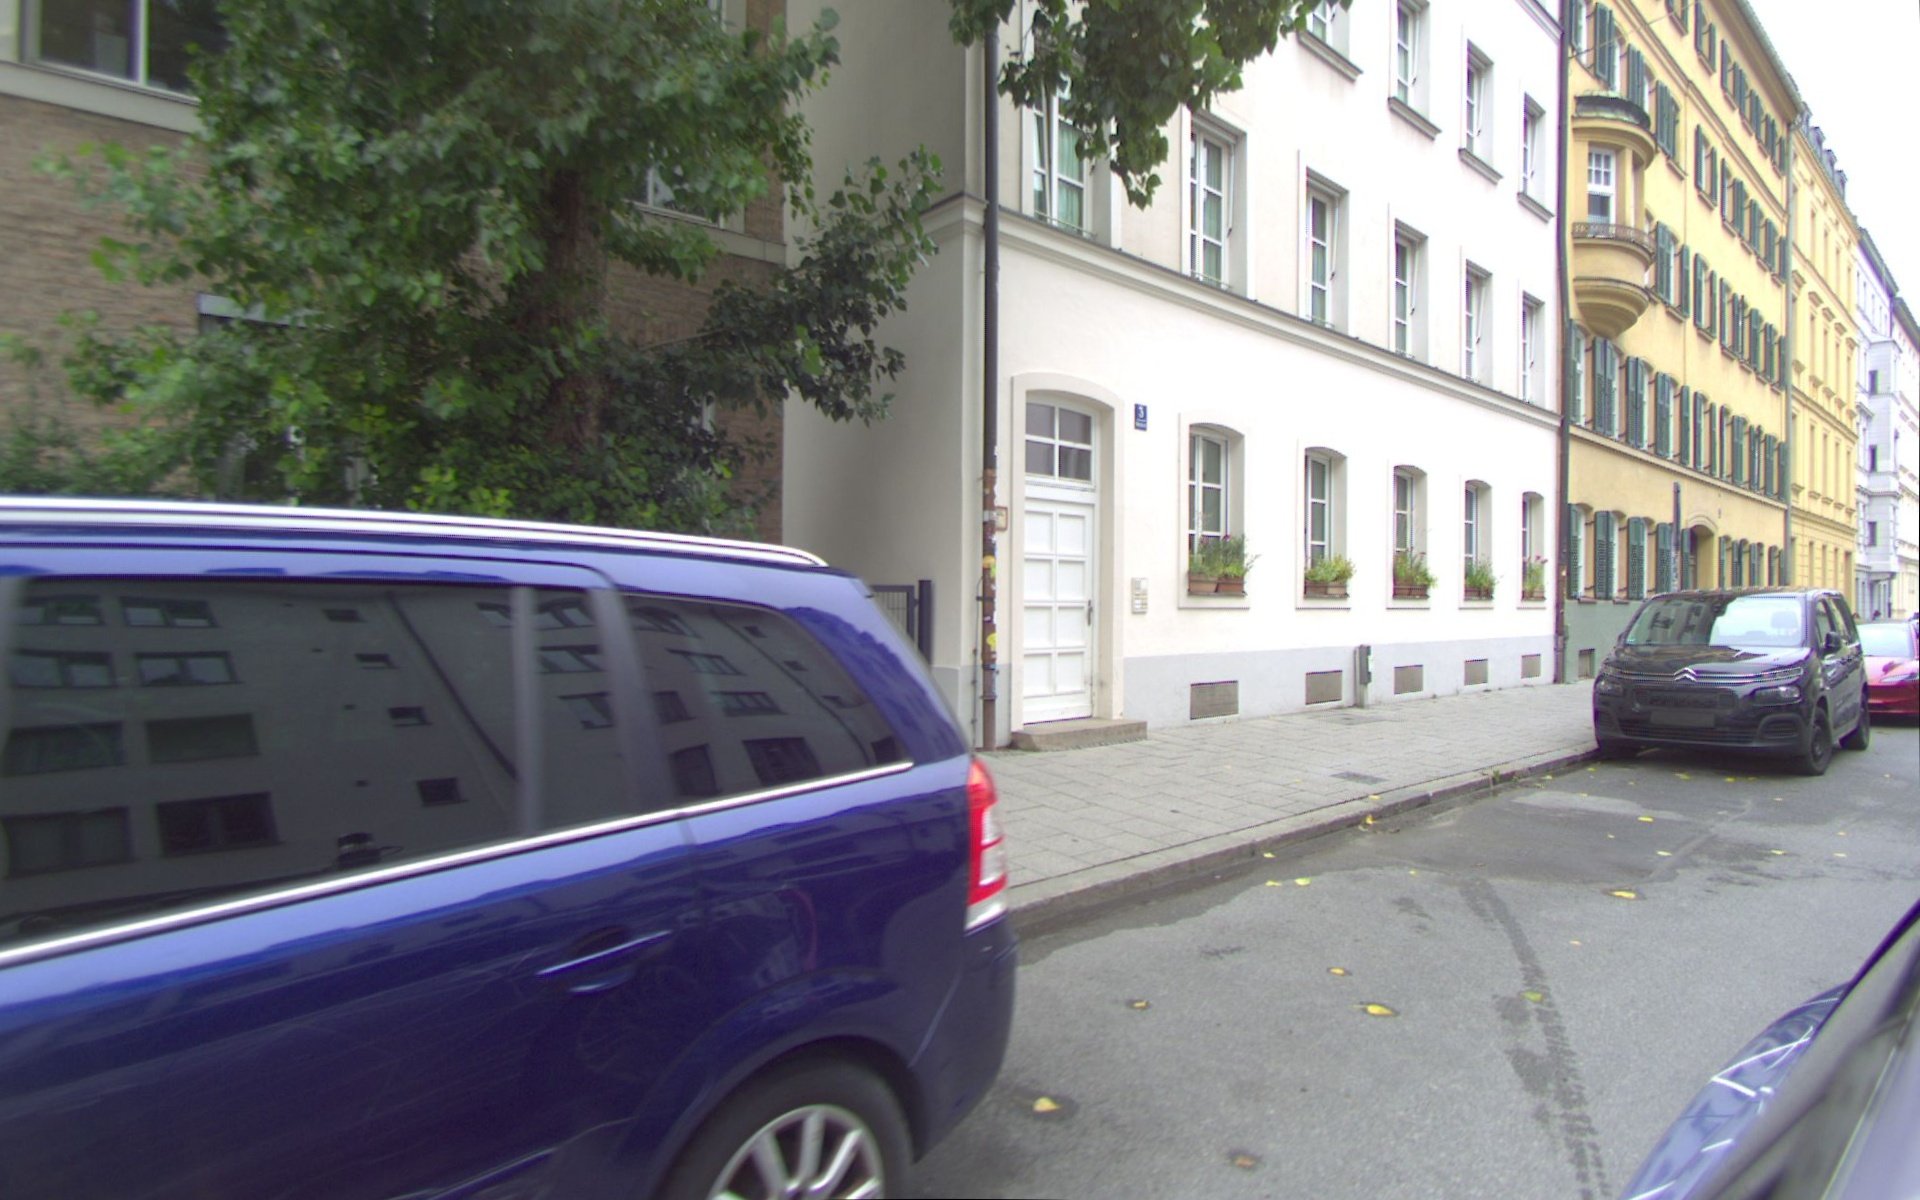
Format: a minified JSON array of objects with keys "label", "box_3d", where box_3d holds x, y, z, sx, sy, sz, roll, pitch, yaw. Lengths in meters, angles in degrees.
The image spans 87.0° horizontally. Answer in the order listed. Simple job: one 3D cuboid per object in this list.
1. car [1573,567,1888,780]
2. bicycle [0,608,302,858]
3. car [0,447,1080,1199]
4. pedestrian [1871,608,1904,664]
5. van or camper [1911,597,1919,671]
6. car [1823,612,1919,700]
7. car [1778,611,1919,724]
[{"label":"car","box_3d":[8.226,0.652,10.668,4.128,1.799,1.849,0,-2,-42]},{"label":"bicycle","box_3d":[-4.431,0.590,4.733,2.185,1.087,0.671,1,0,-42]},{"label":"car","box_3d":[-1.821,0.632,1.602,4.146,1.620,1.809,1,0,-45]},{"label":"pedestrian","box_3d":[28.572,1.110,31.165,0.881,1.659,0.597,2,2,-44]},{"label":"van or camper","box_3d":[28.619,0.981,28.719,5.143,2.039,1.996,1,0,-43]},{"label":"car","box_3d":[17.740,1.001,19.052,3.930,1.482,1.748,1,0,-42]},{"label":"car","box_3d":[13.727,0.904,15.147,4.382,1.442,1.715,1,0,-43]}]
